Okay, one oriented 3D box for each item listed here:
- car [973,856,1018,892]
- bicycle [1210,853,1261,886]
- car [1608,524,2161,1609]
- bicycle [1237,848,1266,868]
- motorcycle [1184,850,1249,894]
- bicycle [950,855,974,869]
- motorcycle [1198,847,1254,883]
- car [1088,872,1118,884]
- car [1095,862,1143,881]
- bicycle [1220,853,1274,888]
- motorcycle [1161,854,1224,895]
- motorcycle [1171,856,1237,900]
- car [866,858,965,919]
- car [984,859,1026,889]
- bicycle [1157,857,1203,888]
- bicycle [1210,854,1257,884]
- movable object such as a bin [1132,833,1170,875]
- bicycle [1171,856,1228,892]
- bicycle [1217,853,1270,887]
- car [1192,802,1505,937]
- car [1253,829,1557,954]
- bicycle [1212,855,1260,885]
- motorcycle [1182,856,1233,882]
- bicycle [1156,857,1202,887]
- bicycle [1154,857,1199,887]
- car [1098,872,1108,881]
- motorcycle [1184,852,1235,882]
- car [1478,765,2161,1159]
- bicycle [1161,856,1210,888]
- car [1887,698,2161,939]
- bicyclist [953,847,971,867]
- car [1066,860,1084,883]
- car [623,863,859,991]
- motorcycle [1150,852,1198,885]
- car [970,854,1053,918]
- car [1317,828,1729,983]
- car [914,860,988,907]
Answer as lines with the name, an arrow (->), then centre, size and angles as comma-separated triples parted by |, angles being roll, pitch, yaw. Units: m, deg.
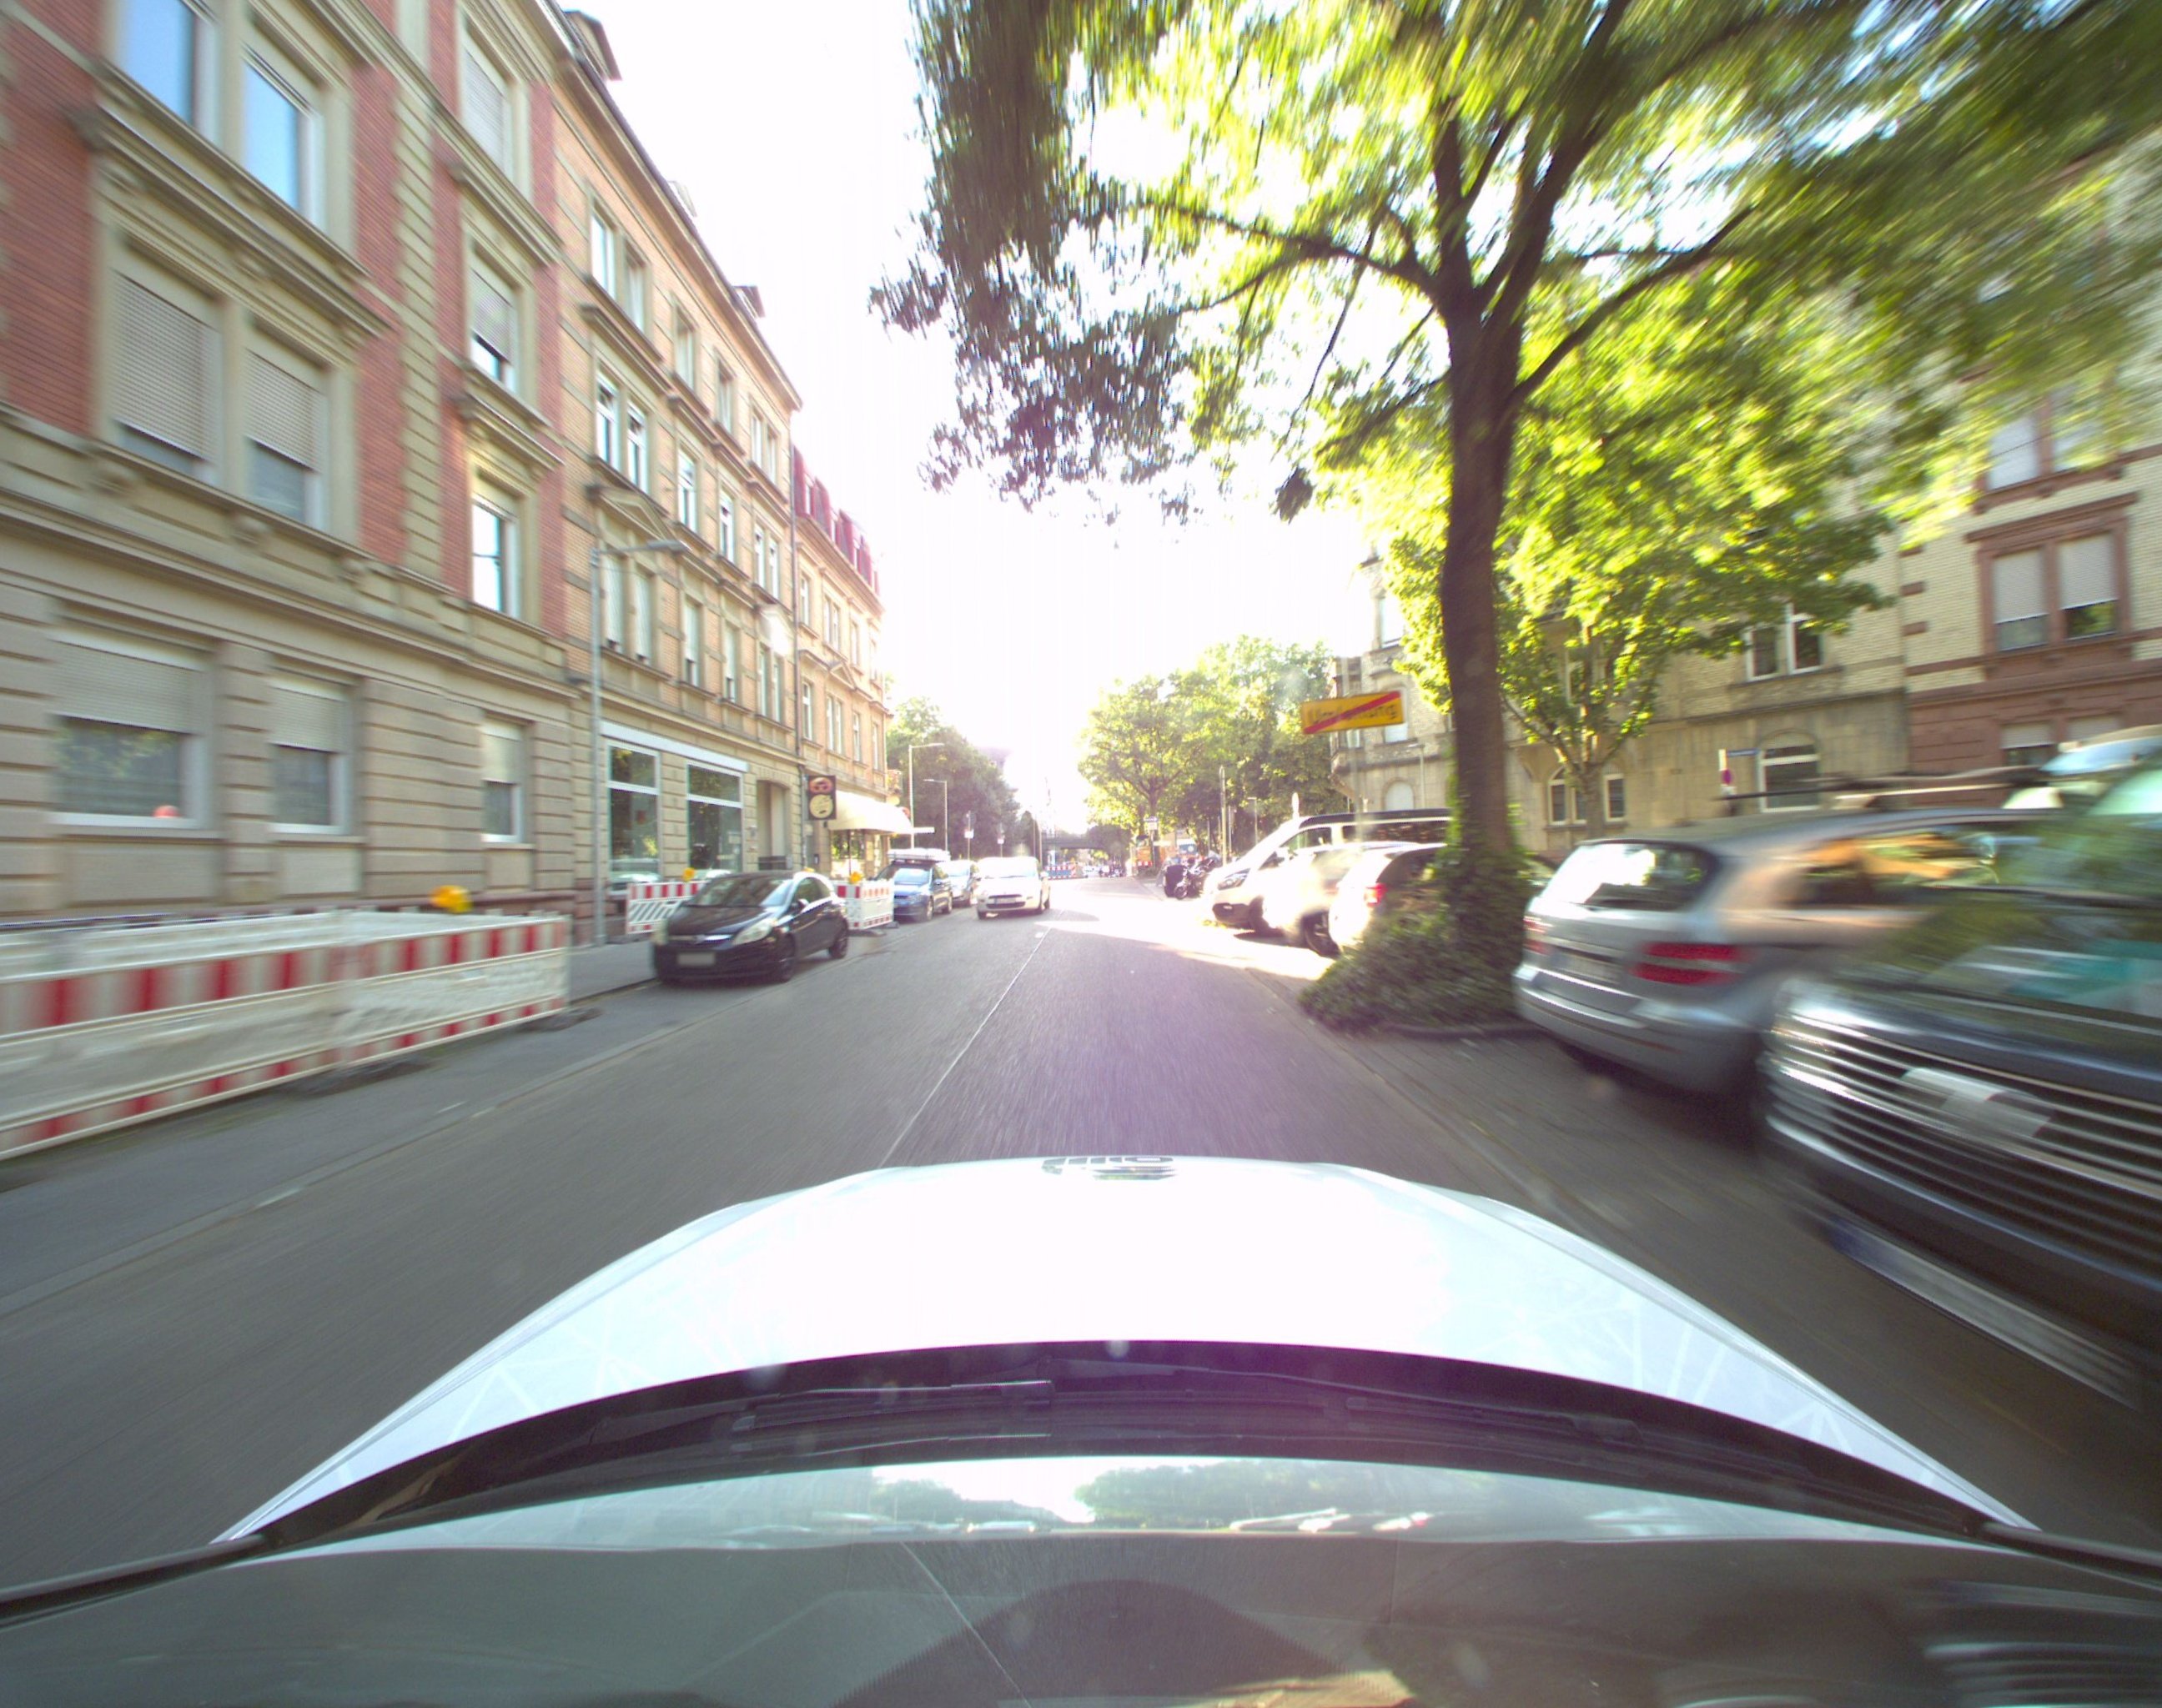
car -> -3.906, 0.902, 37.673 | 1.664, 1.530, 3.998 | -2, 0, -1
bicycle -> 6.279, 0.628, 33.124 | 1.921, 1.246, 0.479 | -2, 0, -5
car -> 4.283, 0.320, 2.054 | 4.602, 2.013, 1.999 | -2, 0, -1
bicycle -> 11.216, 0.272, 53.637 | 1.024, 1.285, 2.139 | -3, 0, -11
motorcycle -> 4.526, 0.594, 27.283 | 2.015, 1.362, 0.694 | -3, 0, 1
bicycle -> -8.111, 0.547, 55.298 | 0.809, 0.968, 2.086 | -1, 0, -34
motorcycle -> 6.449, 0.478, 36.255 | 2.279, 1.531, 0.754 | -2, -1, -5
car -> 3.329, 3.666, 123.000 | 4.375, 1.785, 1.915 | 0, -4, -2
car -> 3.548, 1.652, 76.375 | 4.377, 1.606, 1.914 | 0, -4, -3
bicycle -> 6.317, 0.629, 31.013 | 1.921, 1.246, 0.479 | -2, 0, -5
motorcycle -> 3.854, 0.701, 28.273 | 2.017, 1.285, 0.904 | -4, 0, -1
motorcycle -> 3.977, 0.771, 26.362 | 2.010, 1.327, 0.620 | -2, 0, -3
car -> -4.359, 0.851, 22.124 | 1.759, 1.437, 4.300 | -2, 0, 0
car -> -3.895, 0.996, 42.126 | 1.663, 1.458, 4.001 | -2, 0, 1
bicycle -> 4.280, 0.788, 35.101 | 1.921, 1.246, 0.302 | -2, 0, -5
bicycle -> 6.633, 0.656, 35.468 | 1.921, 1.246, 0.452 | -2, 0, -5
movable object such as a bin -> 4.791, 0.005, 55.164 | 1.979, 2.699, 3.122 | -2, -1, 15
bicycle -> 4.311, 0.731, 29.720 | 1.921, 1.246, 0.647 | -2, 0, -5
bicycle -> 6.285, 0.630, 31.522 | 1.921, 1.246, 0.479 | -2, 0, -5
car -> 4.653, 0.260, 14.805 | 4.955, 2.096, 2.106 | -2, 0, 1
car -> 4.663, 0.517, 12.151 | 3.827, 1.595, 1.741 | -2, 0, 1
bicycle -> 6.644, 0.678, 34.973 | 1.921, 1.246, 0.479 | -2, 0, -5
motorcycle -> 6.082, 0.708, 39.059 | 2.266, 1.180, 0.974 | -2, -1, 14
bicycle -> 4.260, 0.782, 35.422 | 1.921, 1.246, 0.302 | -2, 0, -5
bicycle -> 4.206, 0.789, 35.799 | 1.921, 1.246, 0.302 | -2, 0, -5
car -> 4.057, 4.134, 150.359 | 1.768, 1.609, 4.403 | -2, -1, 1
motorcycle -> 6.025, 0.604, 38.187 | 2.267, 1.341, 0.658 | -2, -1, 13
car -> 4.683, 0.451, 4.599 | 3.974, 1.692, 1.800 | -2, 0, -1
bicycle -> 4.254, 0.728, 33.131 | 1.921, 1.246, 0.302 | -2, 0, -5
car -> 13.924, -0.461, 10.051 | 5.884, 2.537, 2.376 | -2, 0, -5
bicyclist -> -8.088, 0.213, 55.256 | 0.809, 1.383, 0.975 | 0, -1, -34
car -> -0.768, 2.130, 97.593 | 2.041, 2.498, 5.693 | 0, -3, -1
car -> -4.704, 0.918, 11.951 | 1.698, 1.454, 4.020 | -2, 0, 0
motorcycle -> 4.210, 0.657, 36.921 | 1.913, 1.412, 0.947 | -2, -1, 29
car -> -1.786, 0.786, 22.104 | 1.742, 1.509, 4.001 | -2, 0, 1
car -> 4.970, 0.551, 9.599 | 3.827, 1.515, 1.848 | -2, 0, 1
car -> -4.274, 0.936, 27.342 | 1.718, 1.437, 3.998 | 0, 0, 2
